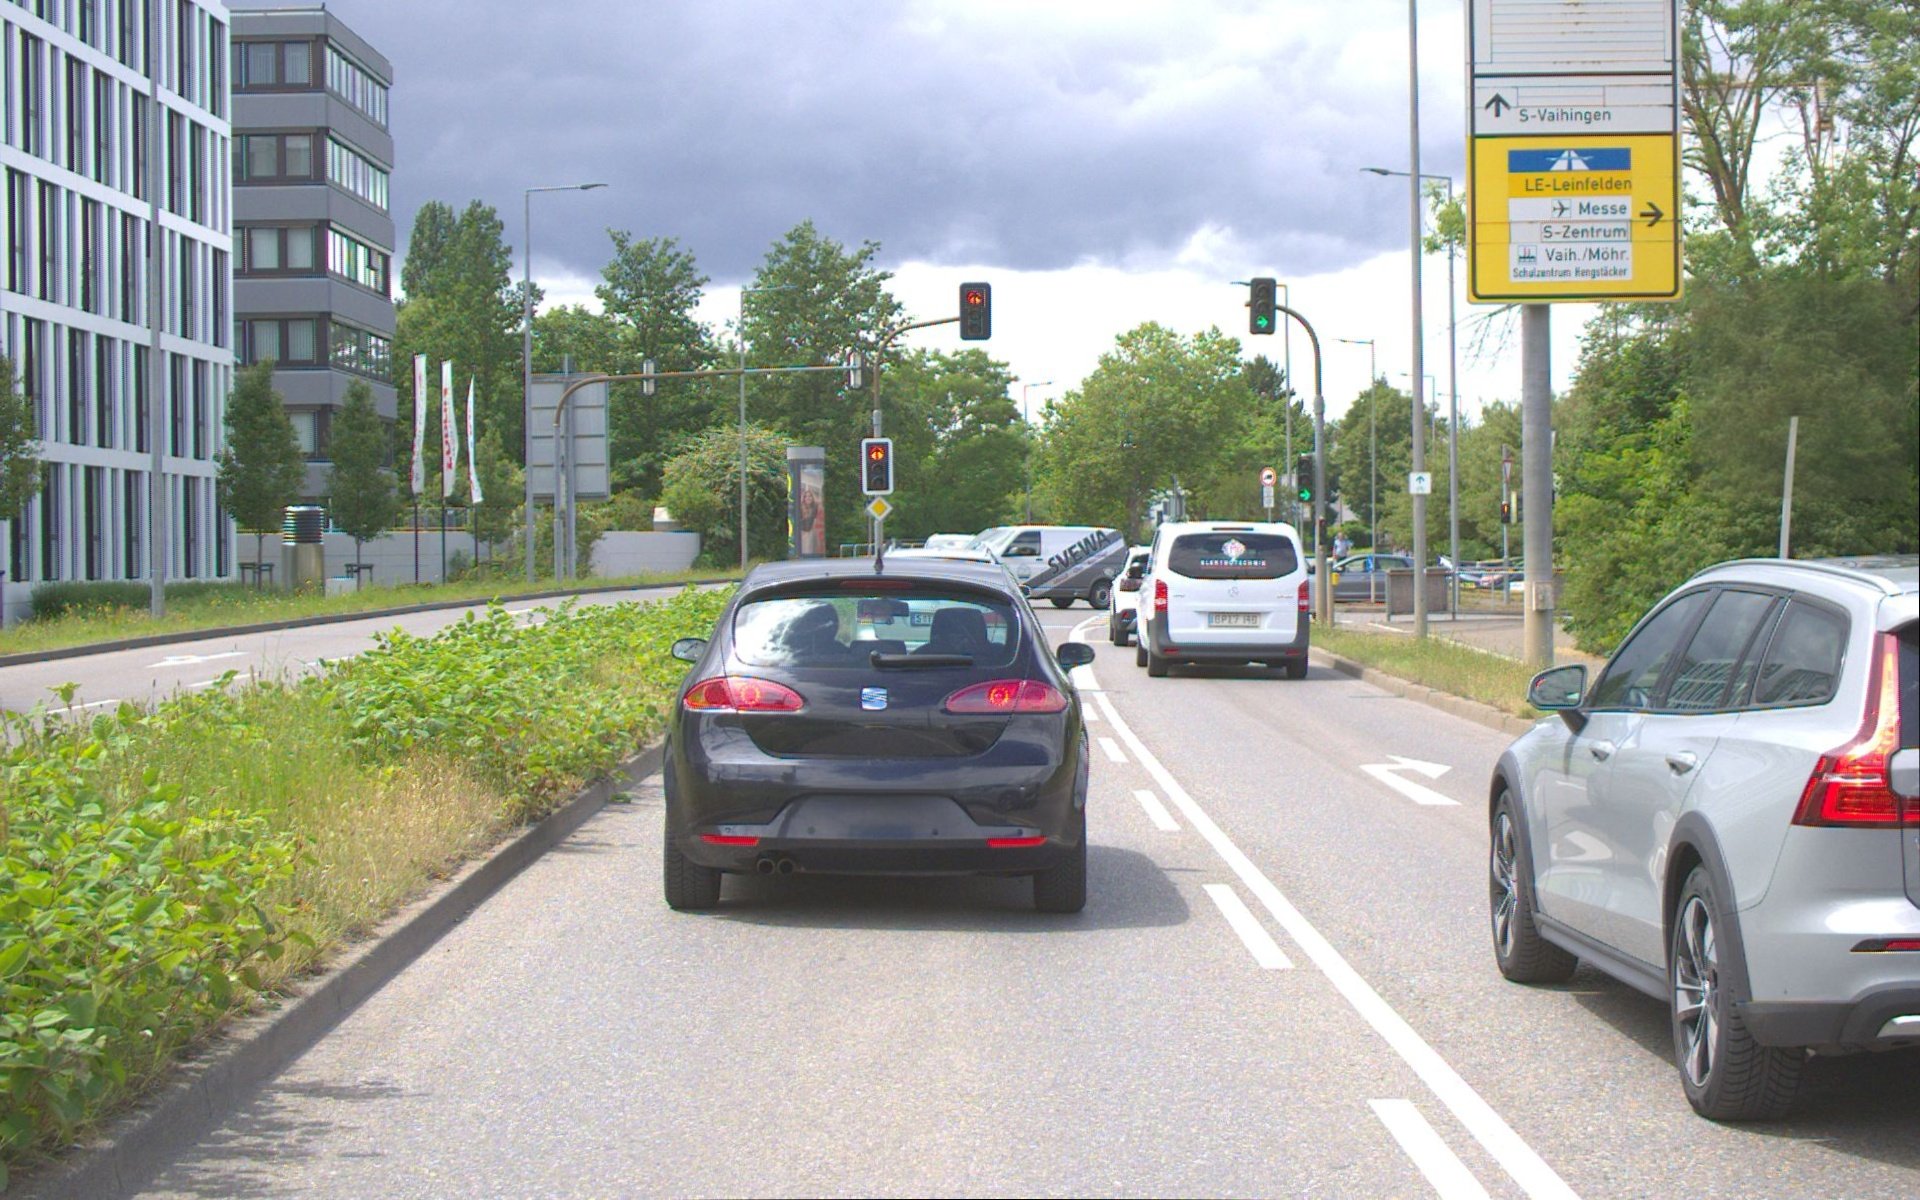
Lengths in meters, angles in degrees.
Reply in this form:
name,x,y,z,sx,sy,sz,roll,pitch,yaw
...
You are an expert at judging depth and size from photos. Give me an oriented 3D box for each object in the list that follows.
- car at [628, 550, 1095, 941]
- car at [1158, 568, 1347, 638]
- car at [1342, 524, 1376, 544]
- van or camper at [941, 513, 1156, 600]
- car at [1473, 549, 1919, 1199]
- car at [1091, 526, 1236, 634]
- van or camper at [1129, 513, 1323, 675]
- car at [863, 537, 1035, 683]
name,x,y,z,sx,sy,sz,roll,pitch,yaw
car,-0.329,0.533,15.019,1.773,1.447,3.582,1,1,2
car,5.783,0.046,68.095,3.378,1.341,1.690,0,1,-13
car,26.925,-4.442,231.913,1.994,1.347,3.999,1,1,10
van or camper,2.103,-1.040,81.469,4.800,2.007,2.000,-1,1,-32
car,2.819,0.627,10.050,1.863,1.513,4.447,-1,1,-1
car,3.159,-0.333,54.033,1.993,1.626,4.000,0,1,-1
van or camper,3.181,-0.111,41.972,1.993,1.853,4.944,0,1,0
car,-0.124,0.071,37.467,1.773,1.486,3.582,-1,1,0
